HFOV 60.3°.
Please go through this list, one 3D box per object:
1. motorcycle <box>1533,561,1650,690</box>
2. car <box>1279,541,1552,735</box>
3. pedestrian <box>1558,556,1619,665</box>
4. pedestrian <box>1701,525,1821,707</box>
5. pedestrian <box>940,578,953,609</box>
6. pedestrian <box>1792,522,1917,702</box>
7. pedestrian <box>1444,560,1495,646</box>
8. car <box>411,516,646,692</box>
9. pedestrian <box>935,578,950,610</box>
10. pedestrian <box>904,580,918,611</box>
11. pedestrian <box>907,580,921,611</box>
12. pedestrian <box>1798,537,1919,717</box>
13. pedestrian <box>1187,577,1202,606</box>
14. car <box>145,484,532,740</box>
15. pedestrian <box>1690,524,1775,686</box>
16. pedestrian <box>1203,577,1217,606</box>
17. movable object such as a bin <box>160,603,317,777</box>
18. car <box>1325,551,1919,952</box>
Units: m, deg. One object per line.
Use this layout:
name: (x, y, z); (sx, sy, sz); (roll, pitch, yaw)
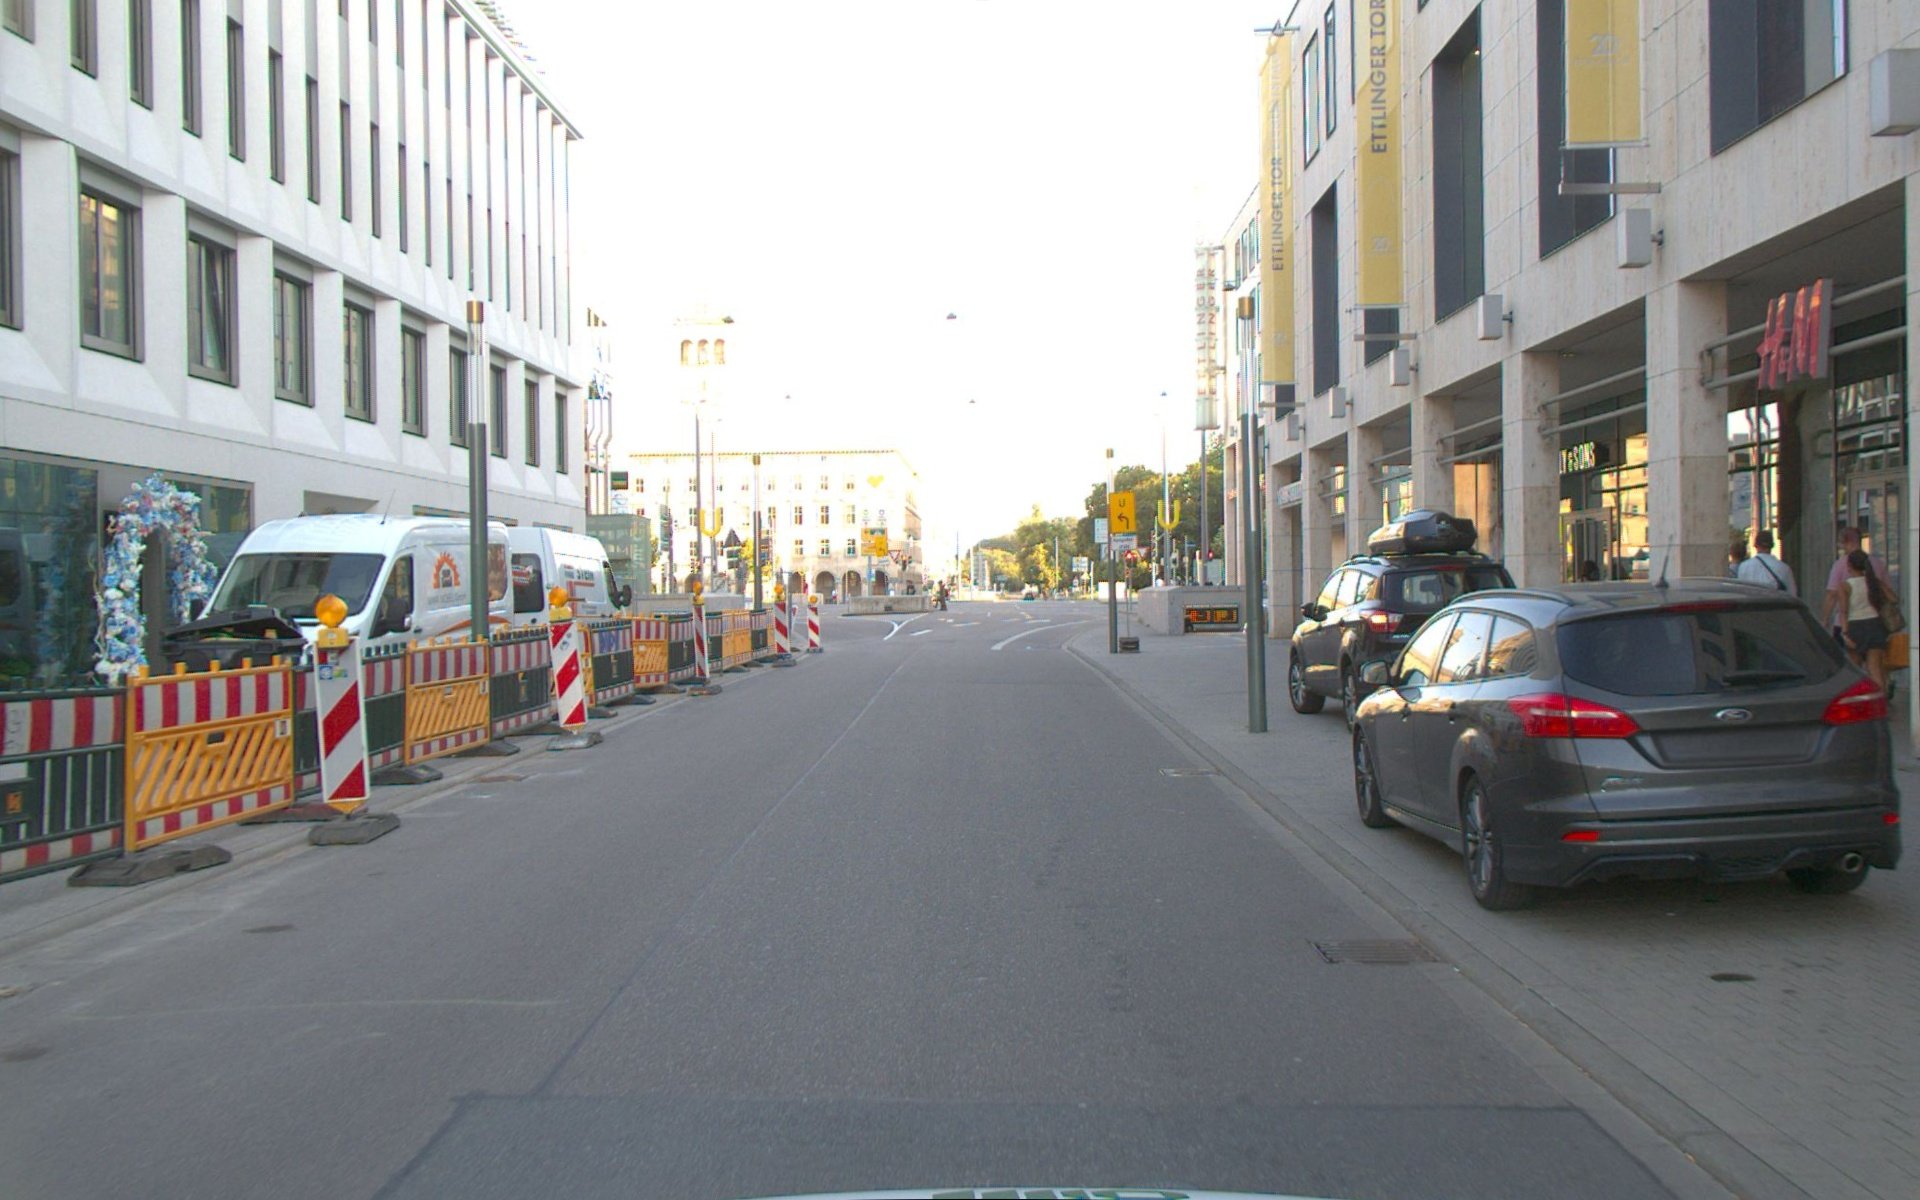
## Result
motorcycle: (7.515, 0.278, 19.775); (0.678, 1.441, 2.137); (-1, 0, 3)
car: (4.610, 0.337, 17.343); (1.732, 1.666, 4.058); (-4, 0, 1)
pedestrian: (9.417, 0.146, 24.811); (0.620, 1.595, 0.775); (-1, 2, 0)
pedestrian: (7.771, 0.137, 16.076); (0.749, 1.710, 0.877); (-1, 2, 0)
pedestrian: (-0.801, -0.374, 96.045); (0.723, 1.808, 0.864); (0, 0, 2)
pedestrian: (8.749, 0.099, 16.211); (0.749, 1.710, 0.877); (-1, 2, 0)
pedestrian: (9.366, 0.054, 30.419); (0.709, 1.569, 0.729); (0, 0, 0)
car: (-6.777, 0.023, 26.801); (2.129, 2.513, 6.000); (-1, 1, 1)
pedestrian: (-1.020, -0.334, 95.294); (0.724, 1.807, 0.863); (-3, 0, -3)
pedestrian: (-2.877, -0.275, 97.622); (0.723, 1.807, 0.863); (-3, 0, -2)
pedestrian: (-2.758, -0.297, 98.844); (0.723, 1.807, 0.863); (-3, 0, -1)
pedestrian: (8.292, 0.227, 15.197); (0.749, 1.595, 0.877); (-1, 2, 0)
pedestrian: (15.395, -0.565, 108.640); (0.843, 1.807, 0.741); (-3, 0, 2)
car: (-6.923, 0.092, 19.348); (2.128, 2.513, 6.000); (-1, 1, 1)
pedestrian: (8.461, 0.050, 18.135); (0.578, 1.728, 0.696); (-1, 1, -1)
pedestrian: (16.343, -0.571, 107.953); (0.740, 1.807, 0.741); (-3, 0, 2)
movable object such as a bin: (-6.609, 0.789, 15.232); (1.024, 1.492, 1.390); (0, 0, -11)
car: (3.289, 0.599, 8.818); (1.758, 1.516, 4.193); (-4, 0, 1)
